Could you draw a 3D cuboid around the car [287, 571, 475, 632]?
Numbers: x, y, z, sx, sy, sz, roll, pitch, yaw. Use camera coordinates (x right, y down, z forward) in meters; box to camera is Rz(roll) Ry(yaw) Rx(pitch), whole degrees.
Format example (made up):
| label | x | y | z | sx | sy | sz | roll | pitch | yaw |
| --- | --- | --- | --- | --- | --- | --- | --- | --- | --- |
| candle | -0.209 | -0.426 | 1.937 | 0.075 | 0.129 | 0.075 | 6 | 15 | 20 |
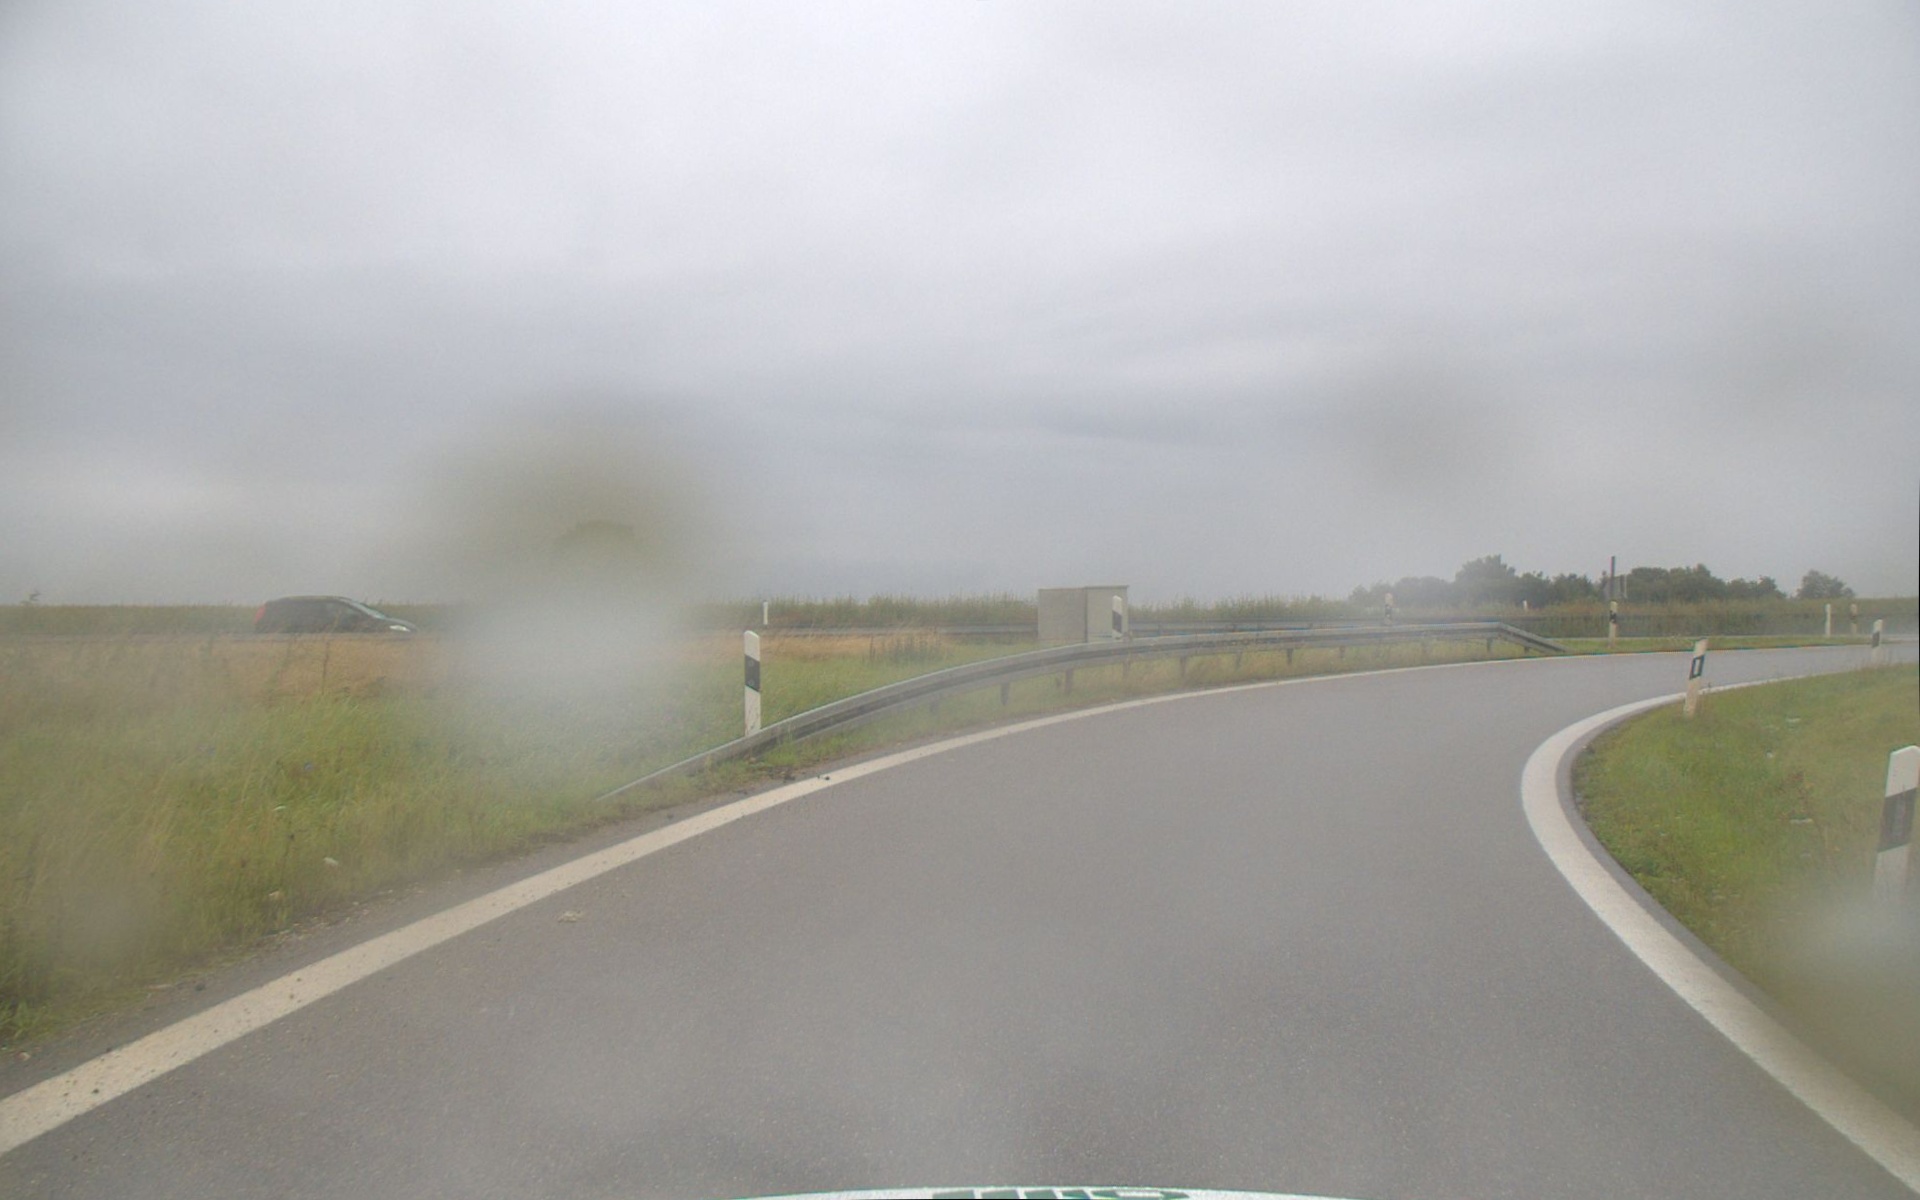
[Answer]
| label | x | y | z | sx | sy | sz | roll | pitch | yaw |
| --- | --- | --- | --- | --- | --- | --- | --- | --- | --- |
| car | -16.091 | 0.043 | 46.171 | 4.489 | 1.665 | 2.151 | 0 | 0 | -3 |
